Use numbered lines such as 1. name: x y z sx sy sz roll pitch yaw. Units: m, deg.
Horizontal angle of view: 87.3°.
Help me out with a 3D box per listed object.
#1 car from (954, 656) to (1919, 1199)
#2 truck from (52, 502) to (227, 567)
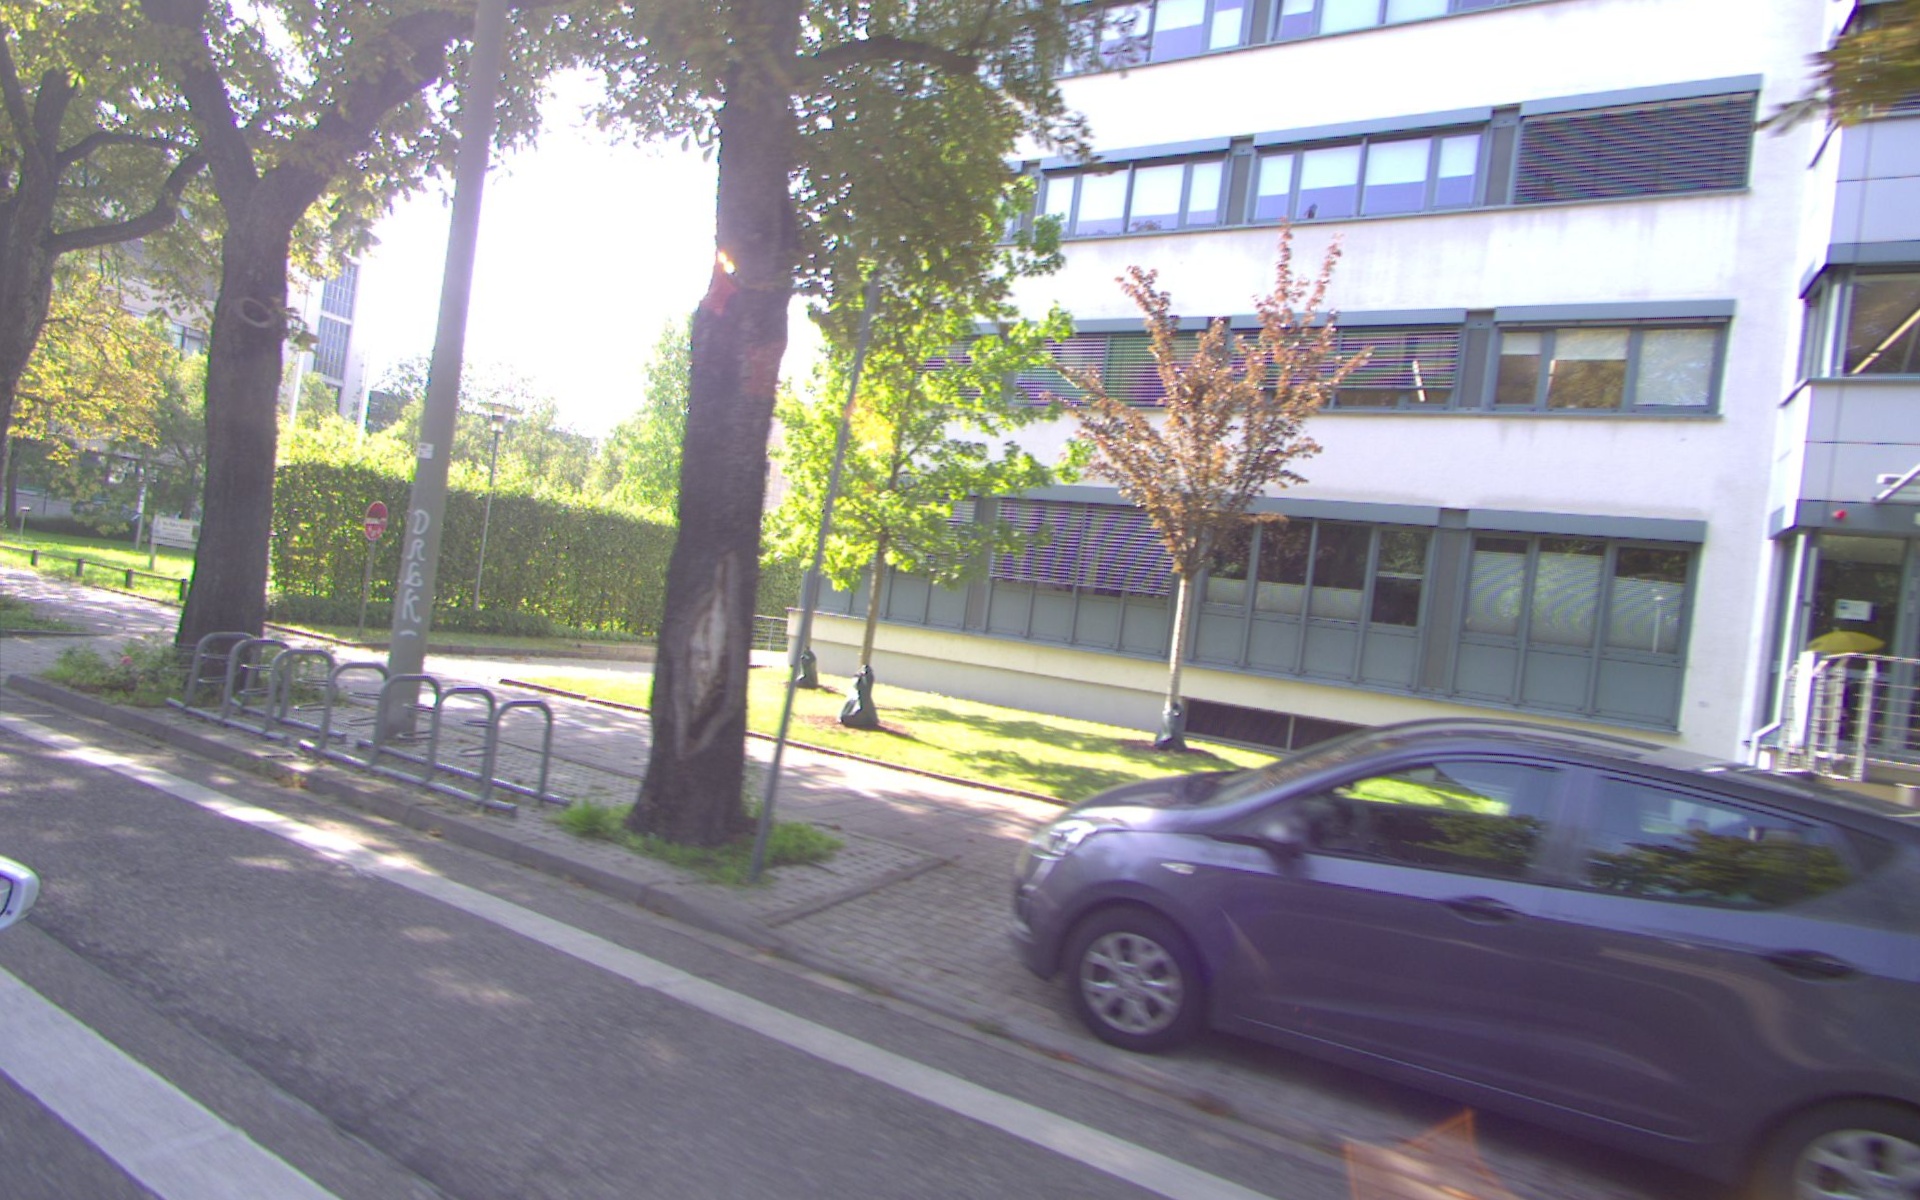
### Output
1. car: 1.945 1.190 4.298 3.501 1.460 1.565 6 1 26
2. truck: -42.396 -3.310 52.219 2.085 2.240 6.583 6 -2 29
